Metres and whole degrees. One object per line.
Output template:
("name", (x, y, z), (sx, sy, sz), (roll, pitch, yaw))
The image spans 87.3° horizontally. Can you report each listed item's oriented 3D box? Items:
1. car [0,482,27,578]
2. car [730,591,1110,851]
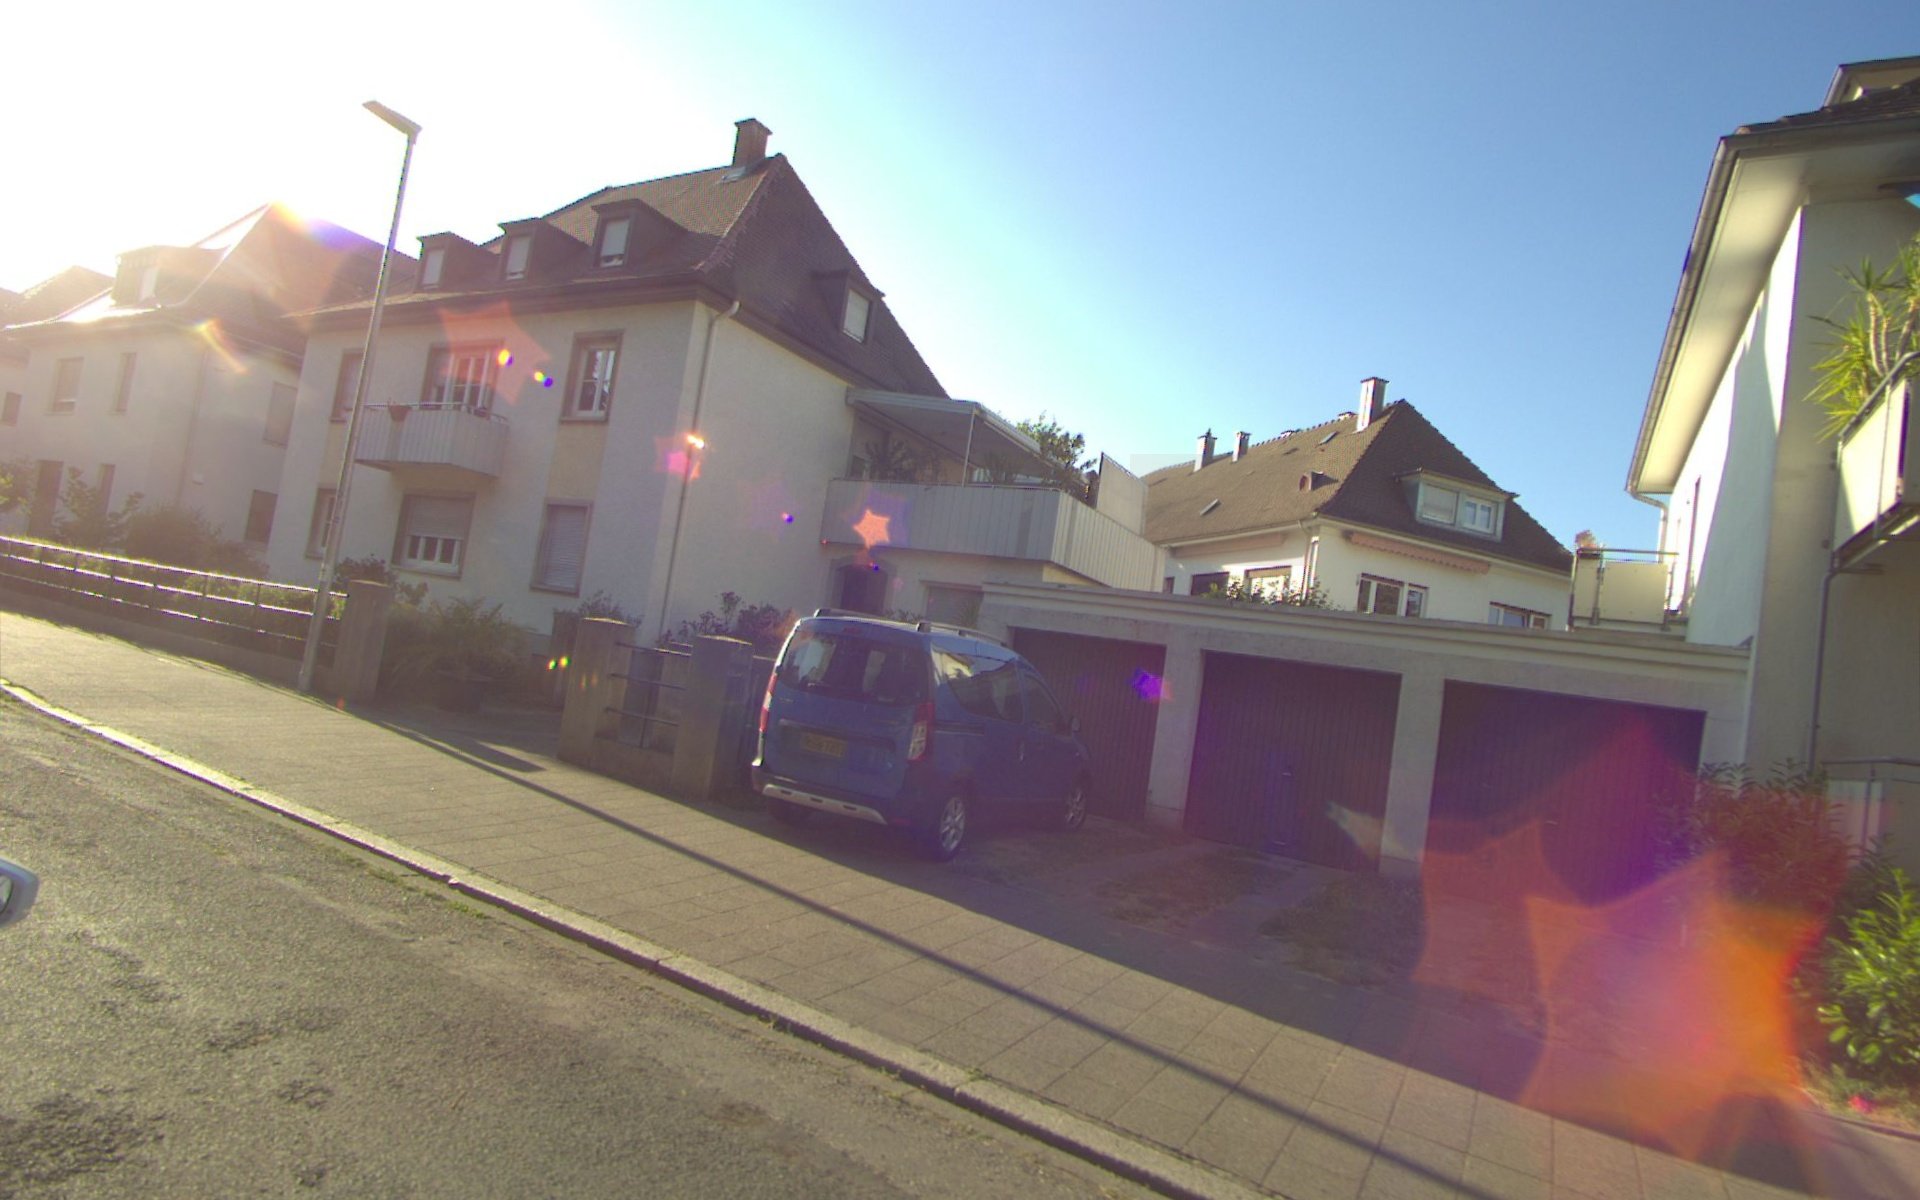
("car", (-11.881, -0.617, 10.255), (4.315, 1.919, 2.005), (7, -8, 30))
("car", (-0.091, 1.117, 9.331), (1.730, 1.839, 4.003), (1, -7, 27))
